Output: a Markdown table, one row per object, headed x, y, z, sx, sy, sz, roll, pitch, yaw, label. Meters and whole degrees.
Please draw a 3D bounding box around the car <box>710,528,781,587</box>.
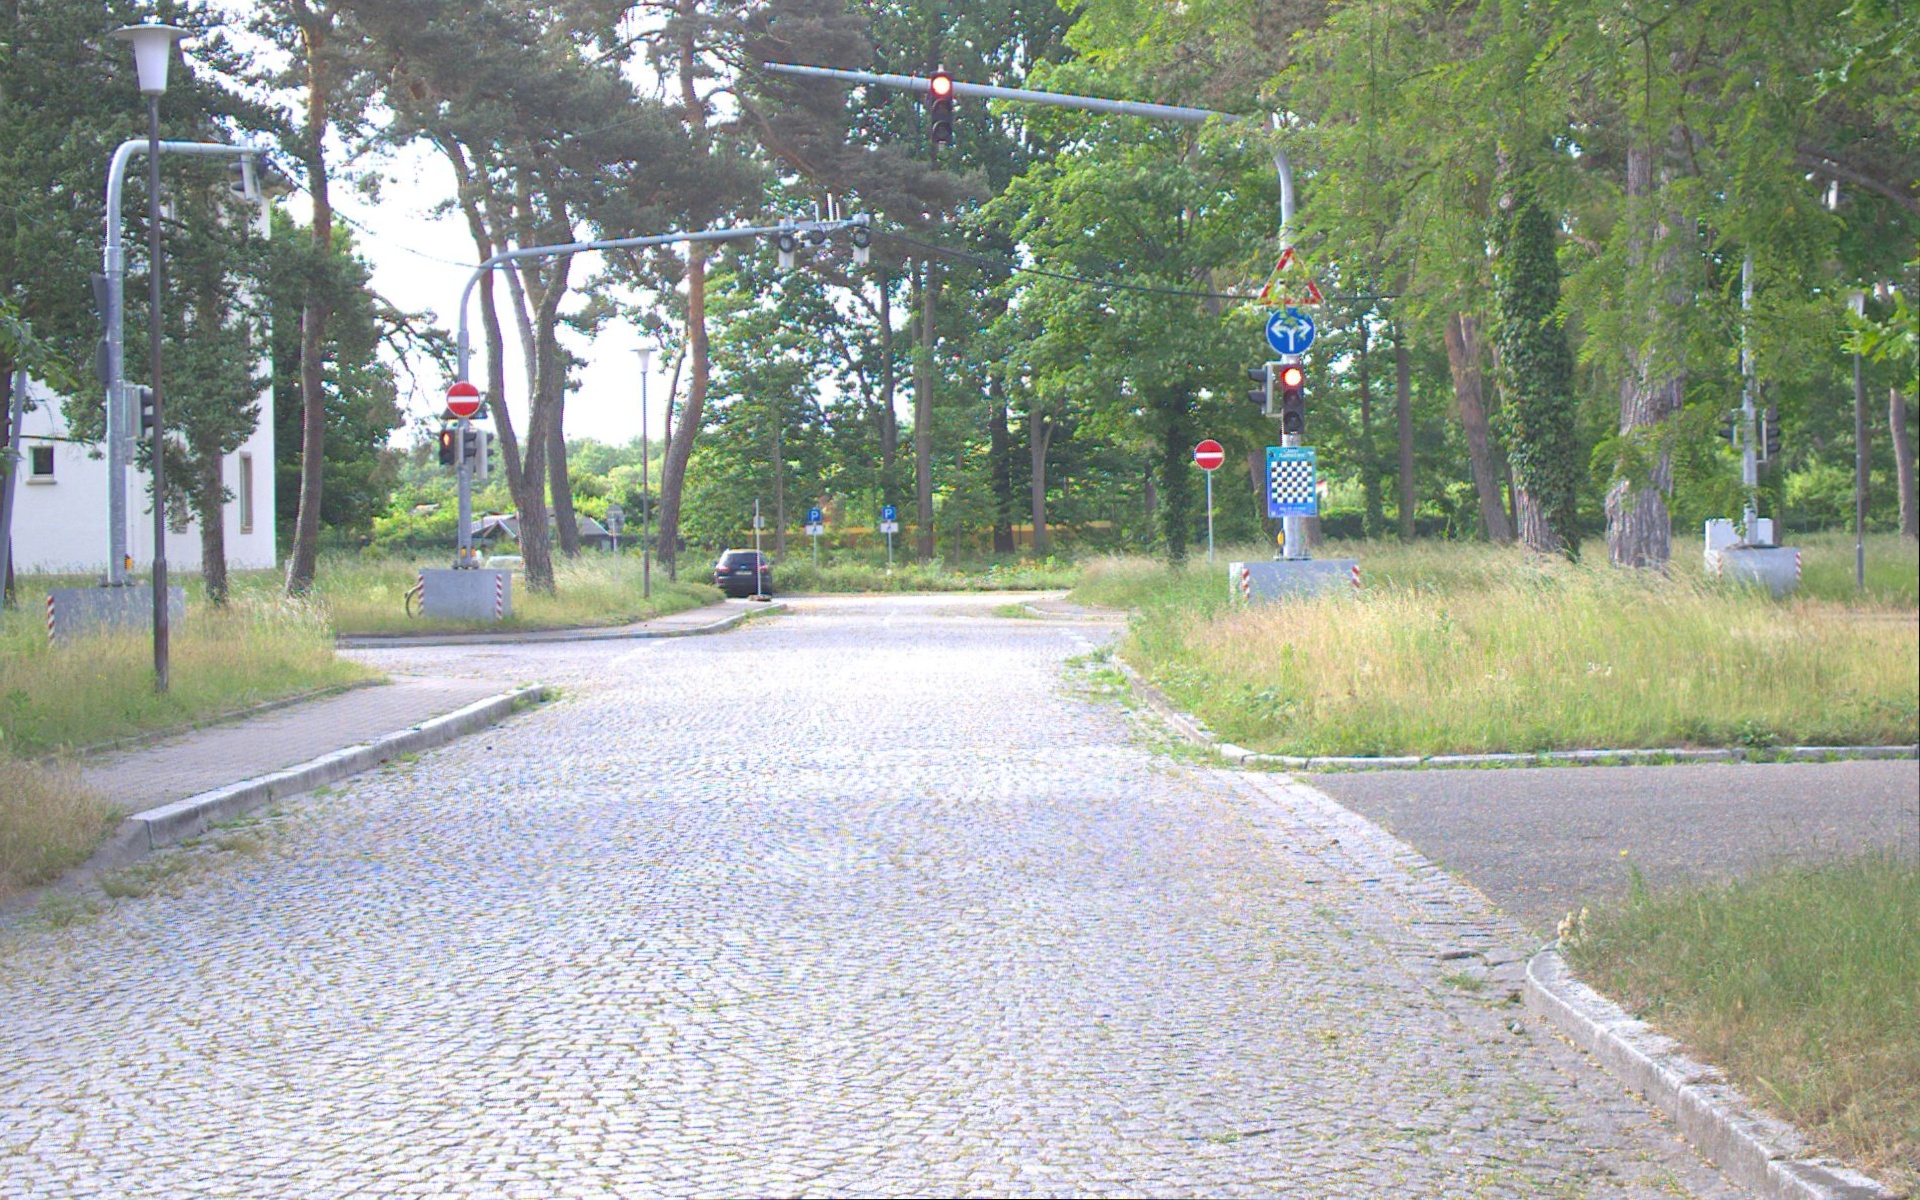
| x | y | z | sx | sy | sz | roll | pitch | yaw | label |
| --- | --- | --- | --- | --- | --- | --- | --- | --- | --- |
| -6.823 | -1.366 | 109.782 | 2.056 | 1.840 | 4.000 | -1 | 1 | -1 | car |
